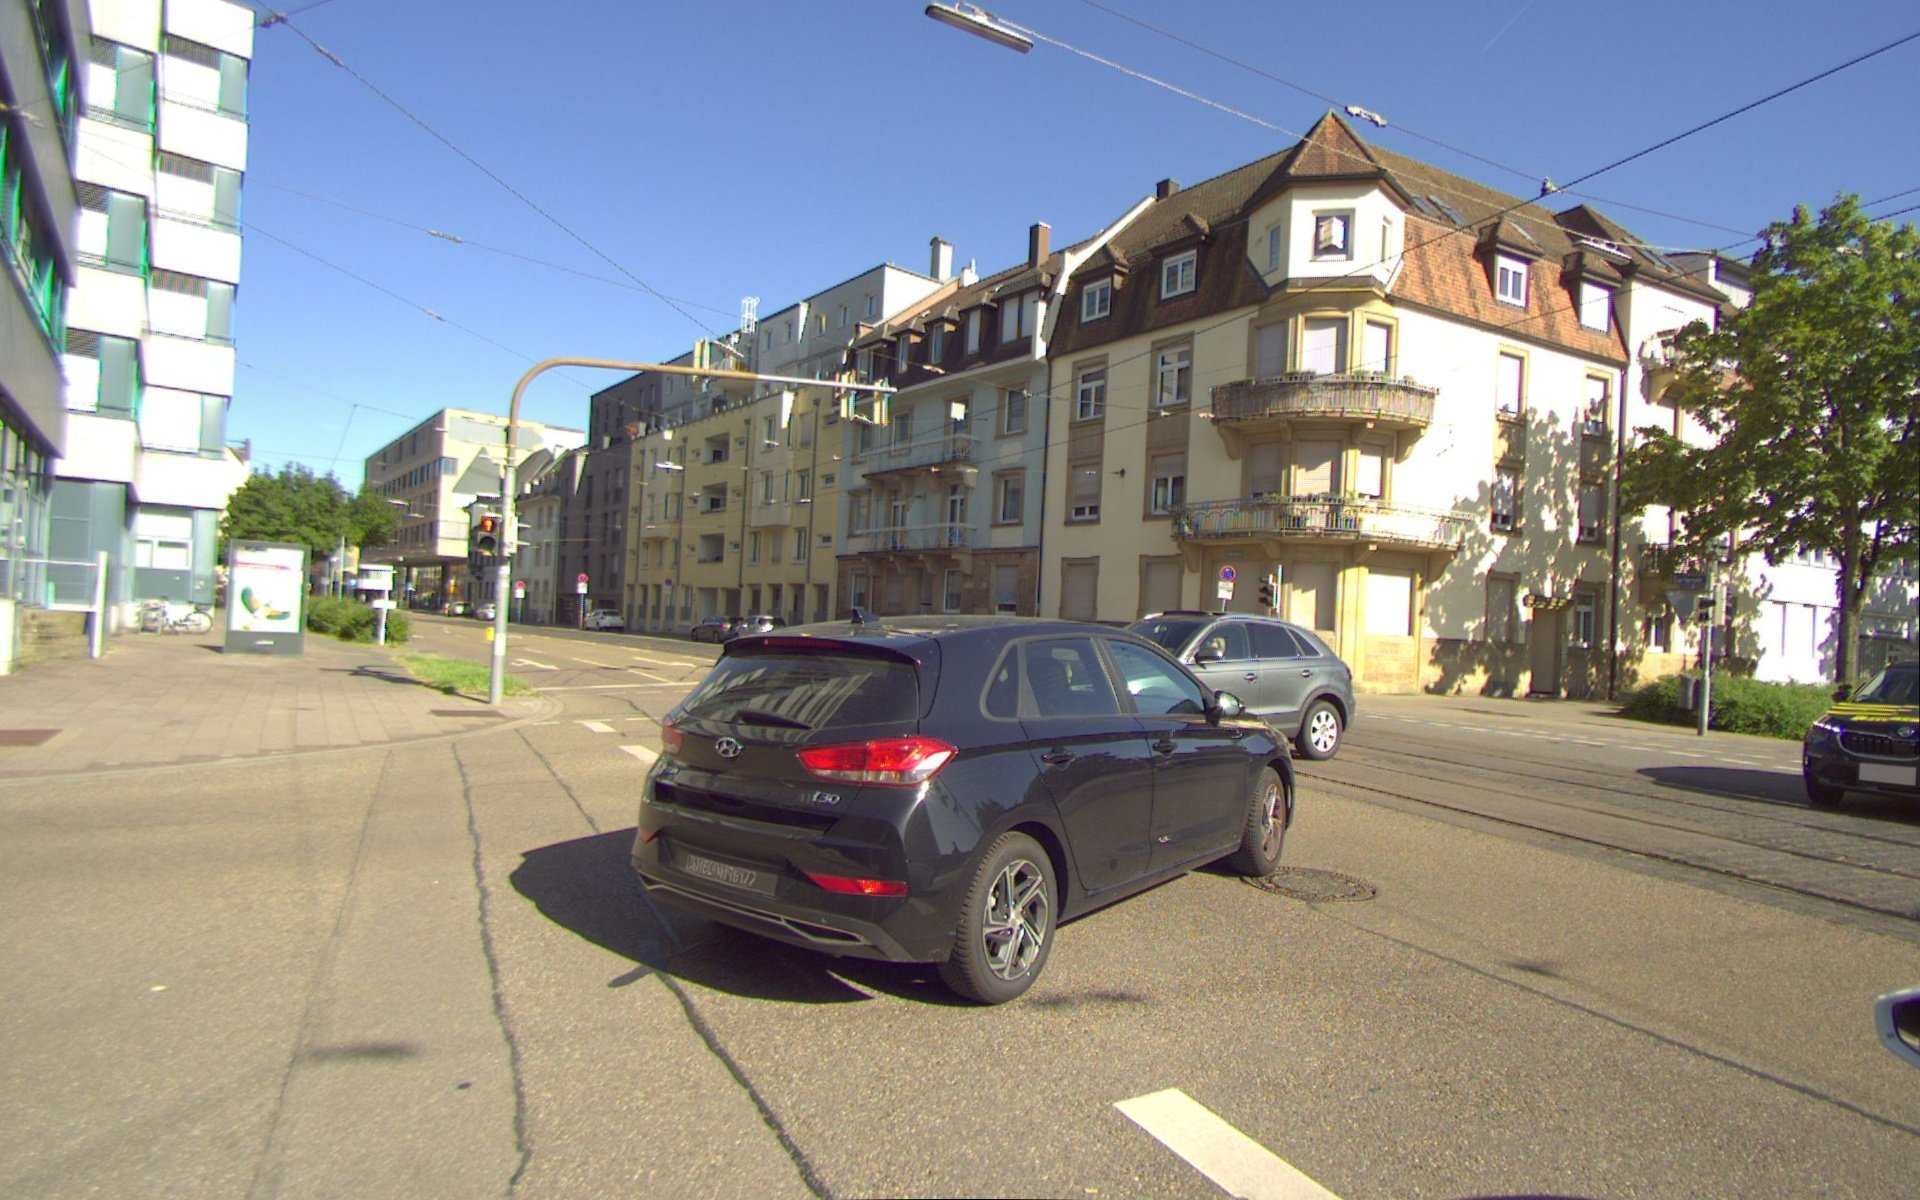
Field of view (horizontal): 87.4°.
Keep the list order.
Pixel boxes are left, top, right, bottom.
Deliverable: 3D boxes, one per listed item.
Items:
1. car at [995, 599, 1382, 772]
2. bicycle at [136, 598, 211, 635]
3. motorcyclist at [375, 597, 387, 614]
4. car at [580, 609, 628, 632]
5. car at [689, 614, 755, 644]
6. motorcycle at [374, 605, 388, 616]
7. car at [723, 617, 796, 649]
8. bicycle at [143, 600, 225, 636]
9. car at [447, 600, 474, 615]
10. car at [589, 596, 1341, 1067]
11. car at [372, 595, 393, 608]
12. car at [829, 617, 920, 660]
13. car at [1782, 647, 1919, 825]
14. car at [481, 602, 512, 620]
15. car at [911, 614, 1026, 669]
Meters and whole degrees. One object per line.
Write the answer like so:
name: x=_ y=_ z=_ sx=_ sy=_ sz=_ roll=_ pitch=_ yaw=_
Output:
car: x=2.636 y=0.921 z=11.369 sx=4.102 sy=1.631 sz=1.875 roll=4 pitch=-2 yaw=-31
bicycle: x=-23.297 y=0.481 z=29.781 sx=1.646 sy=0.994 sz=0.483 roll=4 pitch=-1 yaw=-30
motorcyclist: x=-67.674 y=0.619 z=117.412 sx=0.936 sy=1.894 sz=1.043 roll=4 pitch=-2 yaw=-42
car: x=-23.356 y=1.330 z=65.816 sx=1.946 sy=1.381 sz=3.802 roll=2 pitch=-1 yaw=-36
car: x=-12.188 y=1.475 z=51.296 sx=1.946 sy=1.381 sz=3.802 roll=2 pitch=-1 yaw=-36
motorcycle: x=-67.718 y=1.237 z=117.426 sx=0.910 sy=1.248 sz=2.730 roll=4 pitch=-2 yaw=-41
car: x=-9.551 y=1.541 z=47.772 sx=1.981 sy=1.381 sz=3.802 roll=2 pitch=-1 yaw=-36
bicycle: x=-23.772 y=0.554 z=30.790 sx=1.877 sy=0.994 sz=0.483 roll=4 pitch=-1 yaw=-30
car: x=-48.793 y=0.758 z=98.094 sx=1.786 sy=1.347 sz=3.675 roll=2 pitch=-1 yaw=-36
car: x=0.460 y=0.829 z=5.413 sx=1.779 sy=1.470 sz=4.309 roll=0 pitch=-3 yaw=38
car: x=-68.323 y=0.151 z=118.784 sx=1.786 sy=1.381 sz=3.675 roll=2 pitch=-1 yaw=-36
car: x=-3.463 y=1.507 z=40.218 sx=1.882 sy=1.561 sz=3.850 roll=2 pitch=-1 yaw=-37
car: x=10.151 y=1.335 z=10.168 sx=4.075 sy=1.533 sz=1.776 roll=4 pitch=-2 yaw=-35
car: x=-39.754 y=0.922 z=86.122 sx=1.786 sy=1.381 sz=3.675 roll=2 pitch=-1 yaw=-36
car: x=0.242 y=1.436 z=35.547 sx=1.944 sy=1.747 sz=4.130 roll=2 pitch=-1 yaw=-37
